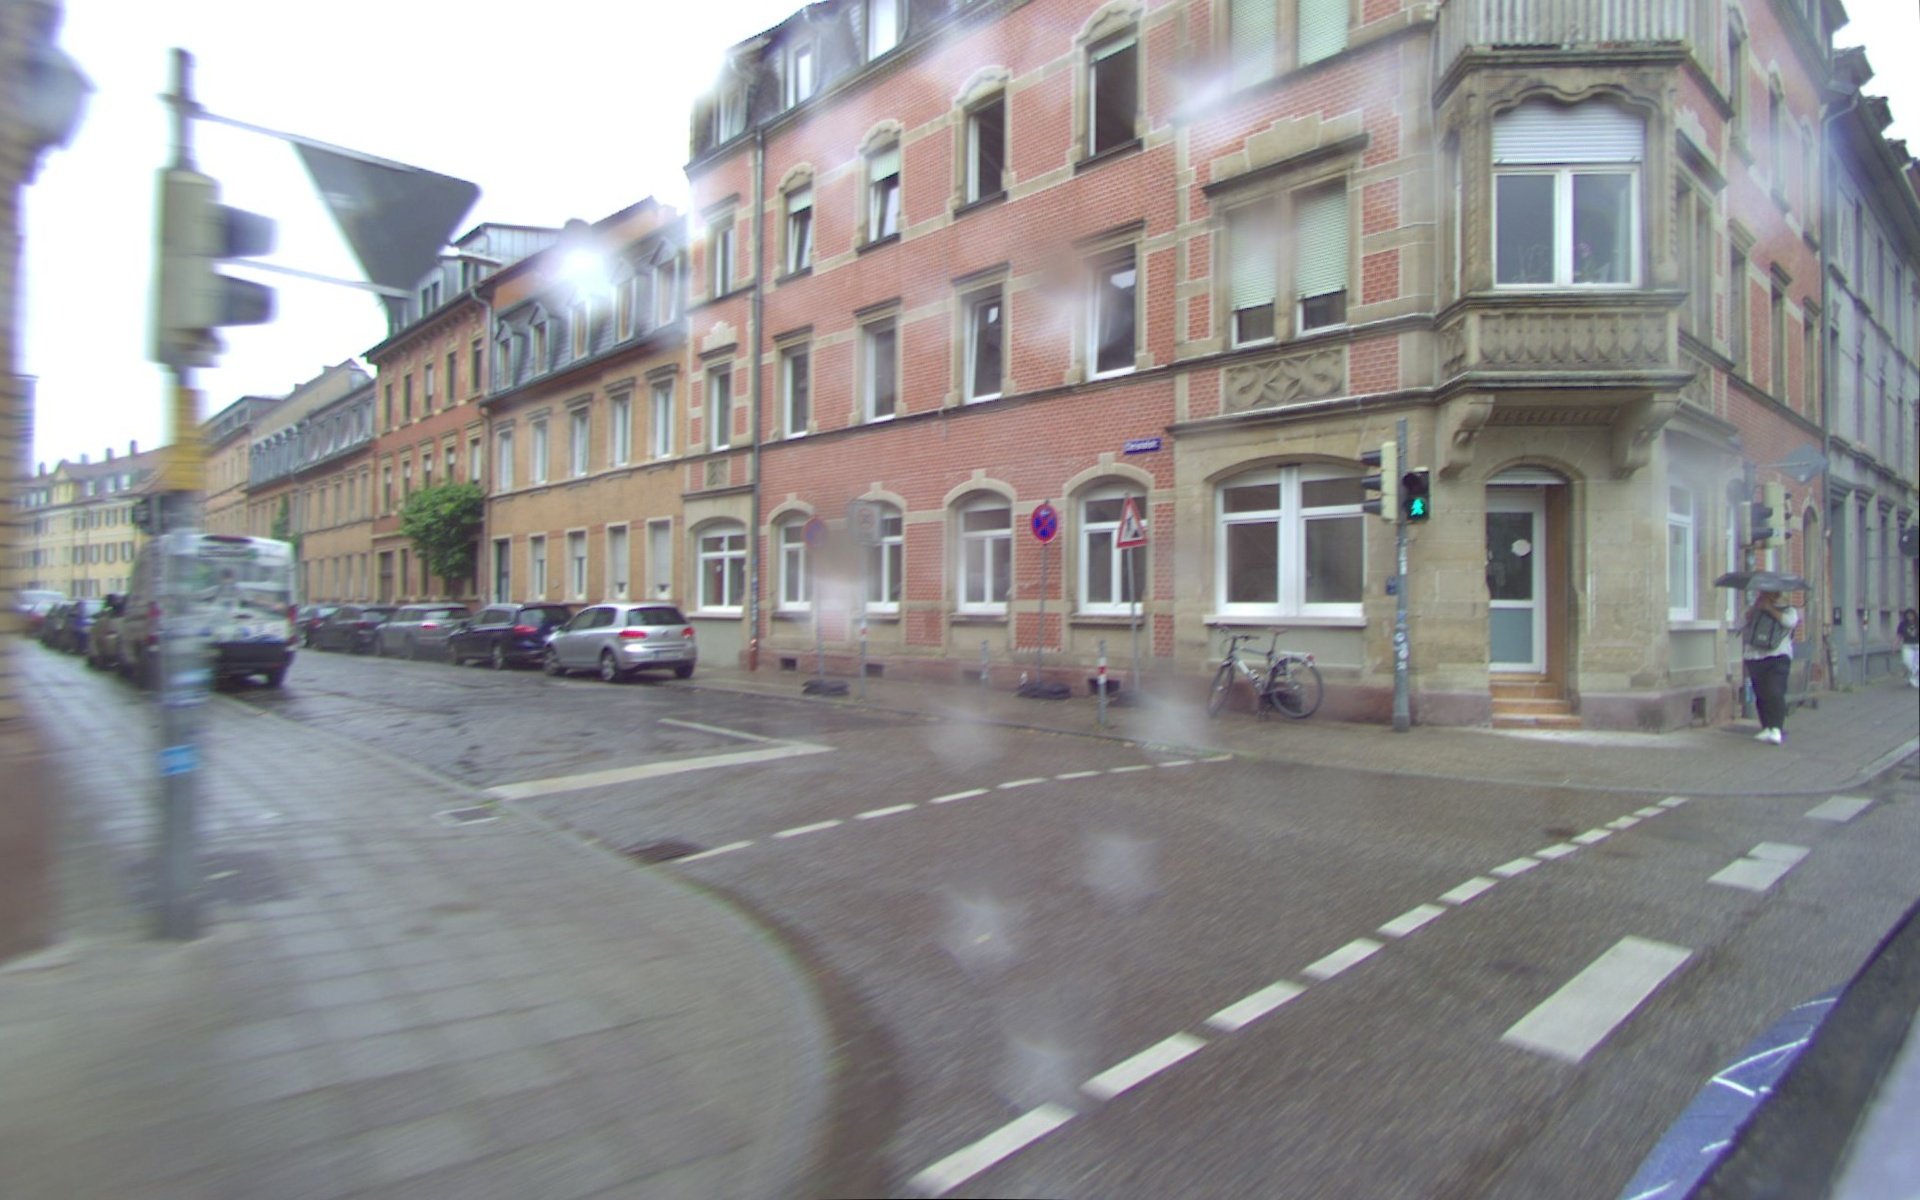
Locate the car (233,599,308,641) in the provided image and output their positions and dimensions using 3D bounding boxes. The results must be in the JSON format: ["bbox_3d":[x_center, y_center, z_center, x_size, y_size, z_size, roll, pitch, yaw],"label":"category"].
[{"bbox_3d":[-28.028,0.773,41.101,3.727,1.553,1.765,0,2,44],"label":"car"}]

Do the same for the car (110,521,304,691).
[{"bbox_3d":[-13.156,0.084,17.558,2.087,2.544,4.735,2,-1,-44],"label":"car"}]

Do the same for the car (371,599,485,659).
[{"bbox_3d":[-14.585,0.738,27.690,3.465,1.452,1.765,0,2,44],"label":"car"}]

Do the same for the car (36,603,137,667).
[{"bbox_3d":[-24.271,0.920,28.075,3.727,1.553,1.765,0,2,44],"label":"car"}]

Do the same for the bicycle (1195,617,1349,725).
[{"bbox_3d":[3.800,0.824,12.422,1.685,1.237,0.668,-1,-2,44],"label":"bicycle"}]

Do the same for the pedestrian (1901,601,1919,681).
[{"bbox_3d":[19.778,0.866,20.514,0.566,1.592,0.849,2,3,-40],"label":"pedestrian"}]

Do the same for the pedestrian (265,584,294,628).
[{"bbox_3d":[-32.041,0.288,47.650,0.974,2.039,1.103,1,0,-43],"label":"pedestrian"}]

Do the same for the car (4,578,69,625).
[{"bbox_3d":[-41.610,0.070,45.575,3.988,2.039,1.968,0,0,45],"label":"car"}]

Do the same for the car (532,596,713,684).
[{"bbox_3d":[-6.776,0.703,20.141,4.001,1.510,1.765,0,2,44],"label":"car"}]

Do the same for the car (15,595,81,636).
[{"bbox_3d":[-37.656,0.597,41.766,3.727,1.553,1.765,0,2,44],"label":"car"}]

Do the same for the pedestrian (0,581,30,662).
[{"bbox_3d":[-19.563,0.432,20.730,0.689,1.636,0.688,-2,-2,45],"label":"pedestrian"}]

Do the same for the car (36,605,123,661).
[{"bbox_3d":[-28.103,0.992,32.259,3.727,1.553,1.765,0,2,44],"label":"car"}]

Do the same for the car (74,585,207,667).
[{"bbox_3d":[-17.635,0.483,21.734,3.727,1.553,1.765,0,2,44],"label":"car"}]

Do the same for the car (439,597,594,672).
[{"bbox_3d":[-10.412,0.714,23.615,4.409,1.510,1.765,0,2,44],"label":"car"}]

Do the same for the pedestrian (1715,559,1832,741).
[{"bbox_3d":[9.257,0.535,11.512,0.913,1.937,0.786,1,2,-41],"label":"pedestrian"}]

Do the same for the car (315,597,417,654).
[{"bbox_3d":[-17.994,0.727,30.603,3.465,1.553,1.765,0,2,44],"label":"car"}]

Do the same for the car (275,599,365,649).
[{"bbox_3d":[-21.909,0.773,34.587,3.727,1.553,1.765,0,2,44],"label":"car"}]
